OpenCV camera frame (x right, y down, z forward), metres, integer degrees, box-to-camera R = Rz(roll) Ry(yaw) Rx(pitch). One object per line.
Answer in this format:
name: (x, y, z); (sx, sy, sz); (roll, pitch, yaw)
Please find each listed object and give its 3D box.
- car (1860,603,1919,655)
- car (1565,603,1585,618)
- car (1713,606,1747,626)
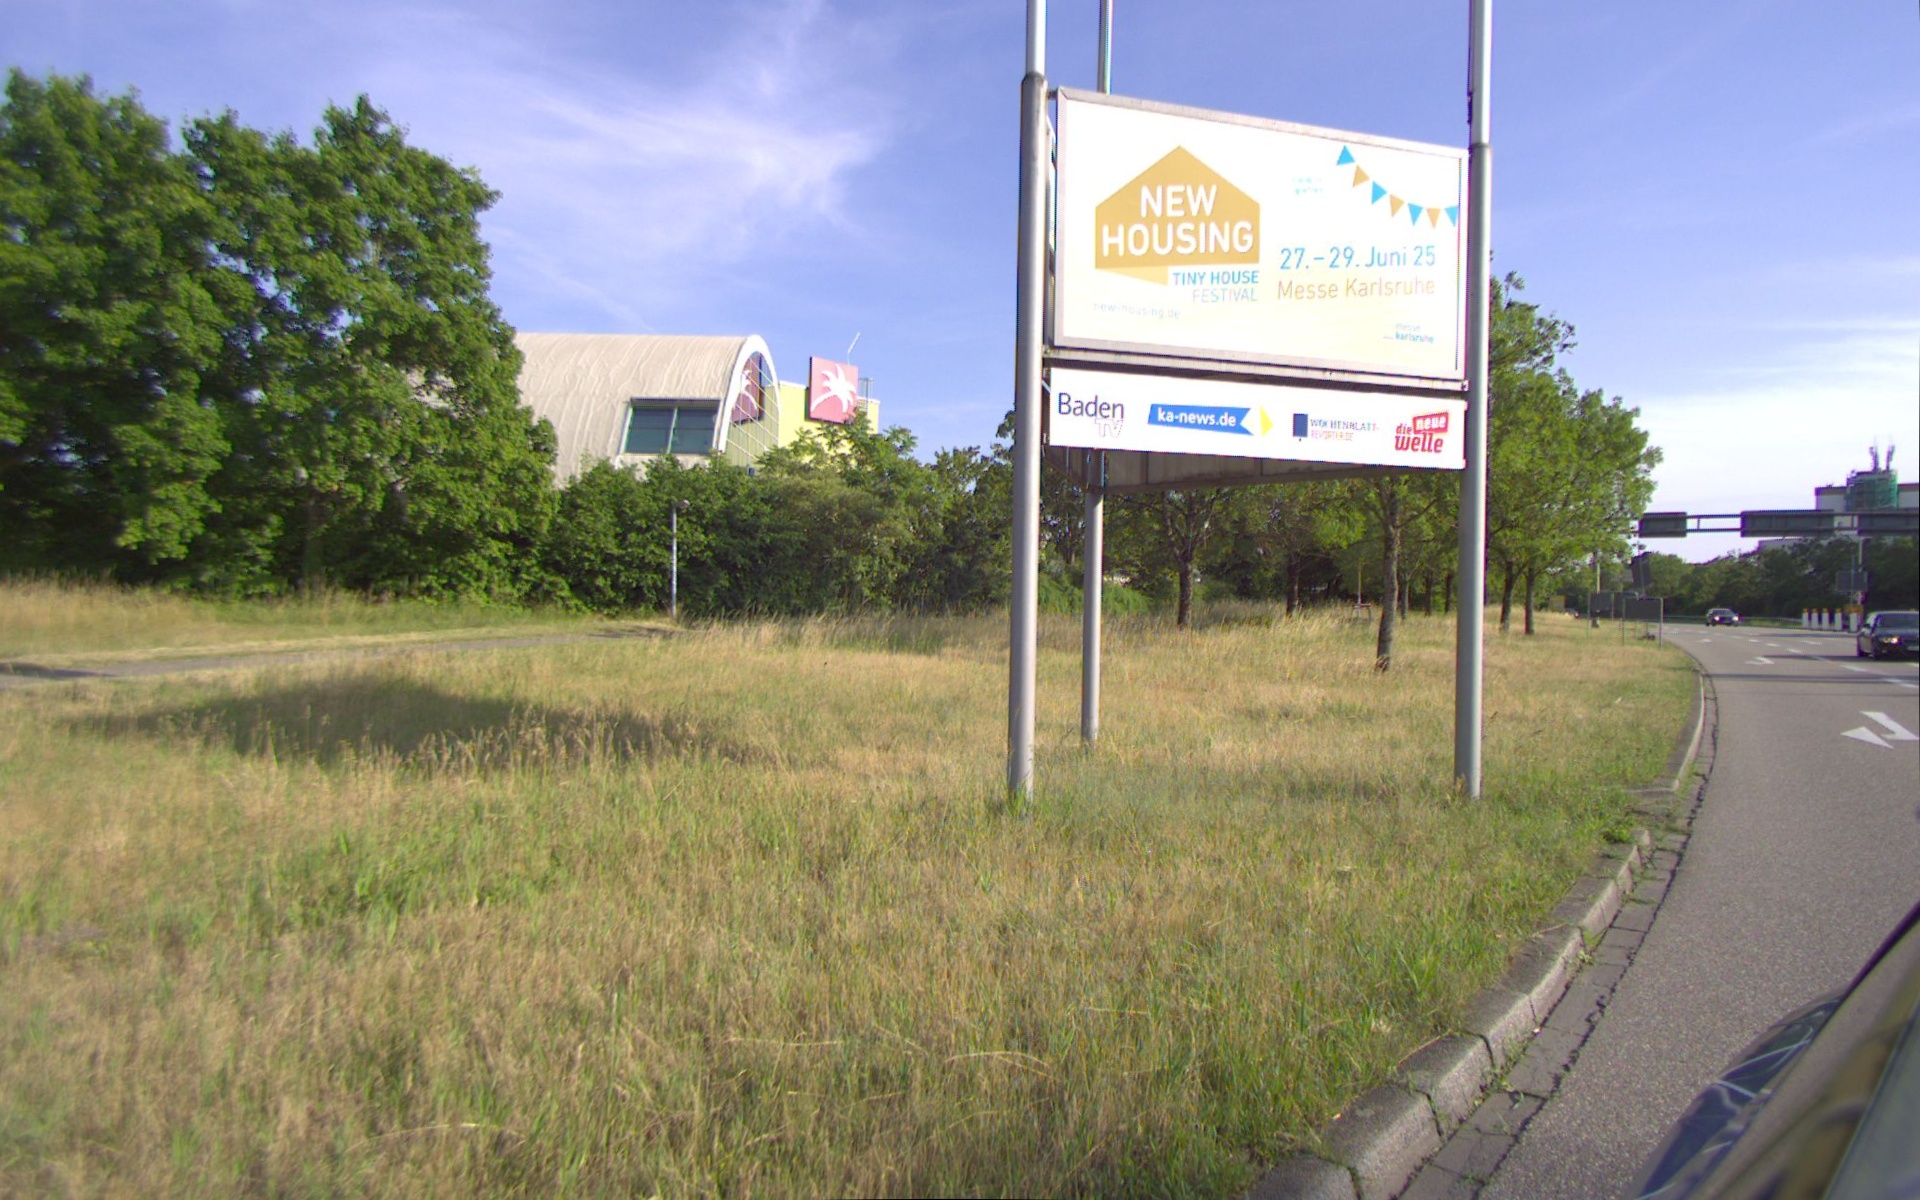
car: (27.444, 0.788, 29.002); (1.889, 1.403, 4.302); (-1, -1, 34)
car: (87.828, 1.487, 144.493); (1.841, 2.039, 4.144); (-1, 0, 24)
car: (63.743, 1.302, 83.792); (1.882, 1.474, 3.863); (1, 1, 33)
